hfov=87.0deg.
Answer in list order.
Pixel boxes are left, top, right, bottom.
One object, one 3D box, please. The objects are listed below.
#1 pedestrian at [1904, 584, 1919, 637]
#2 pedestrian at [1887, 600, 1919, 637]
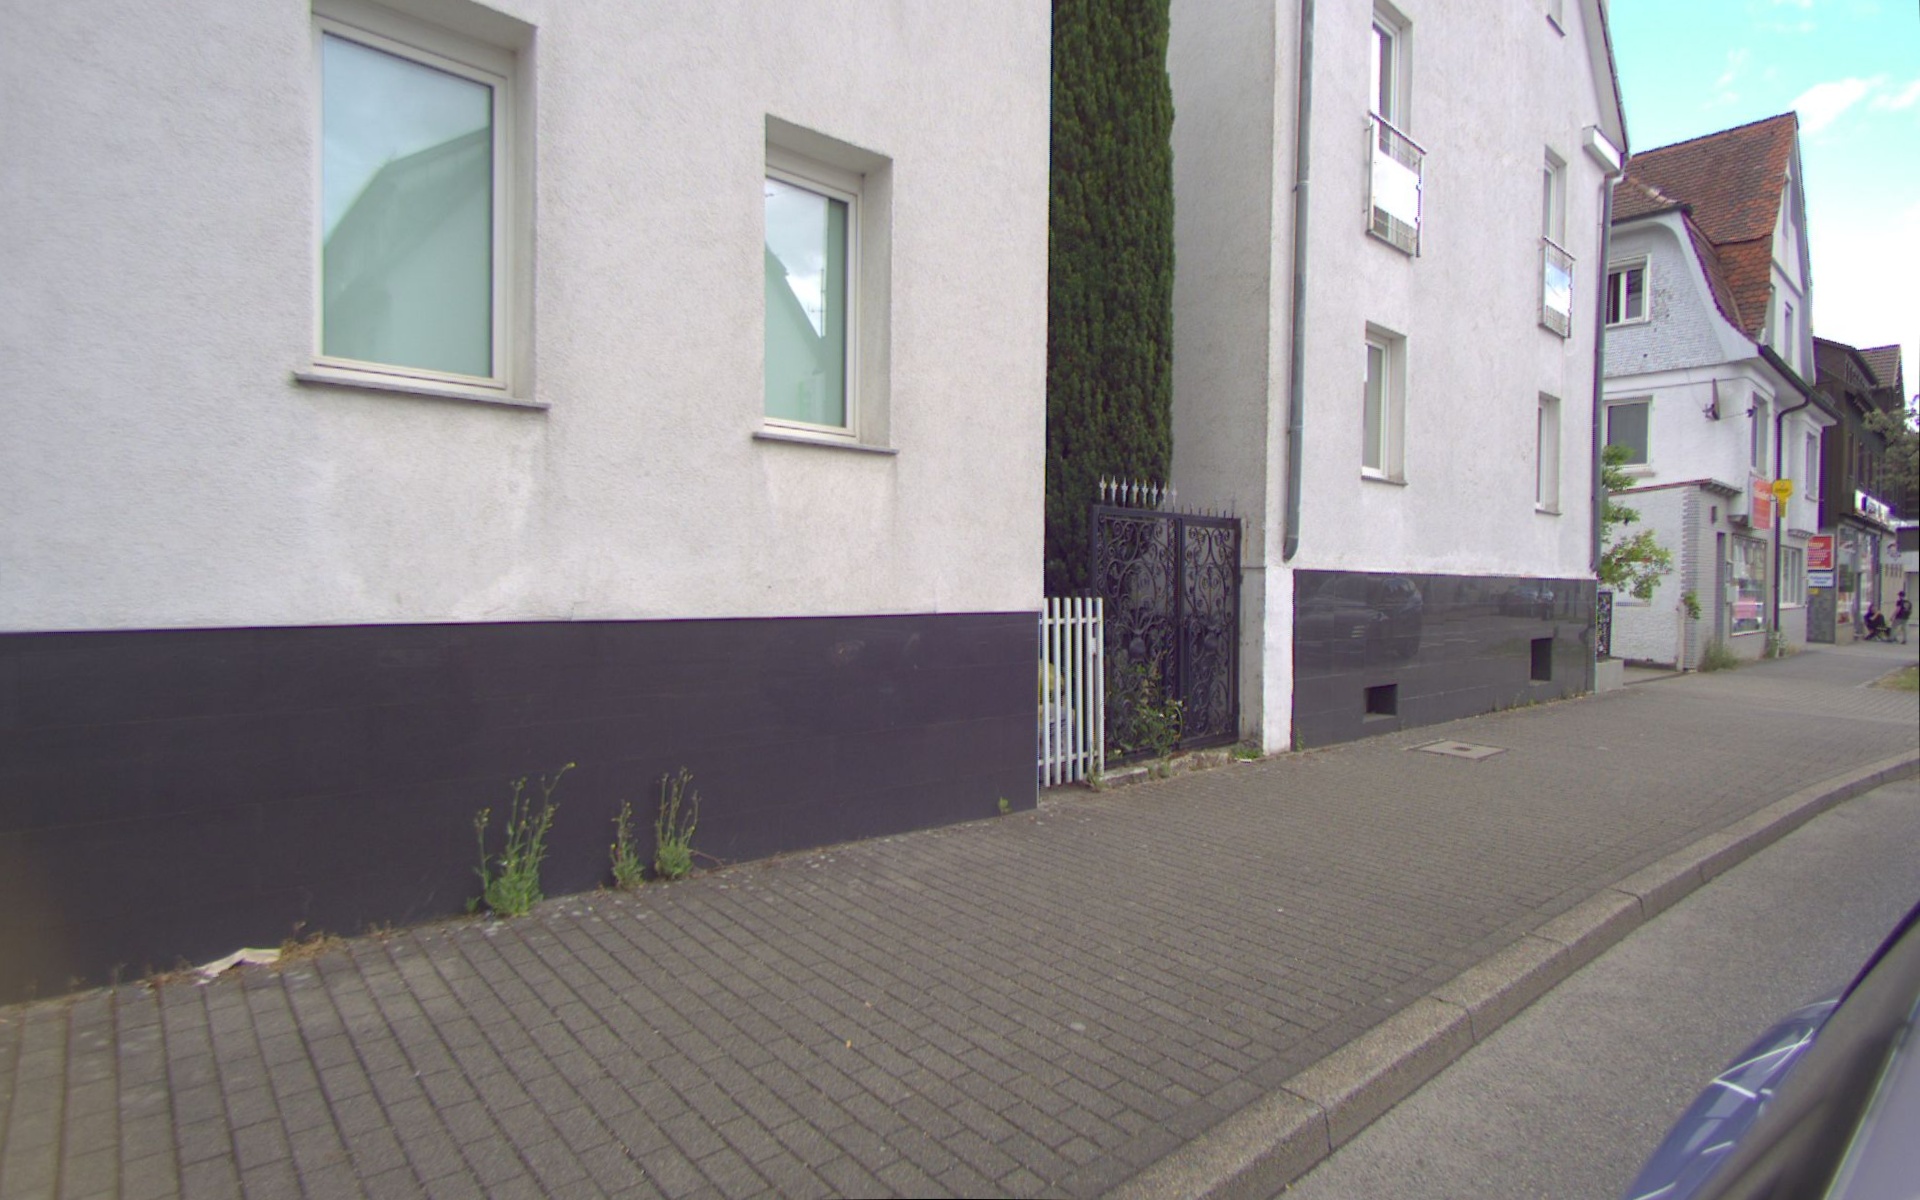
[{"bbox_3d":[31.939,0.344,33.721,0.642,1.762,0.731,3,2,43],"label":"pedestrian"},{"bbox_3d":[32.524,0.630,34.900,0.633,1.226,0.741,0,2,-42],"label":"pedestrian"}]
